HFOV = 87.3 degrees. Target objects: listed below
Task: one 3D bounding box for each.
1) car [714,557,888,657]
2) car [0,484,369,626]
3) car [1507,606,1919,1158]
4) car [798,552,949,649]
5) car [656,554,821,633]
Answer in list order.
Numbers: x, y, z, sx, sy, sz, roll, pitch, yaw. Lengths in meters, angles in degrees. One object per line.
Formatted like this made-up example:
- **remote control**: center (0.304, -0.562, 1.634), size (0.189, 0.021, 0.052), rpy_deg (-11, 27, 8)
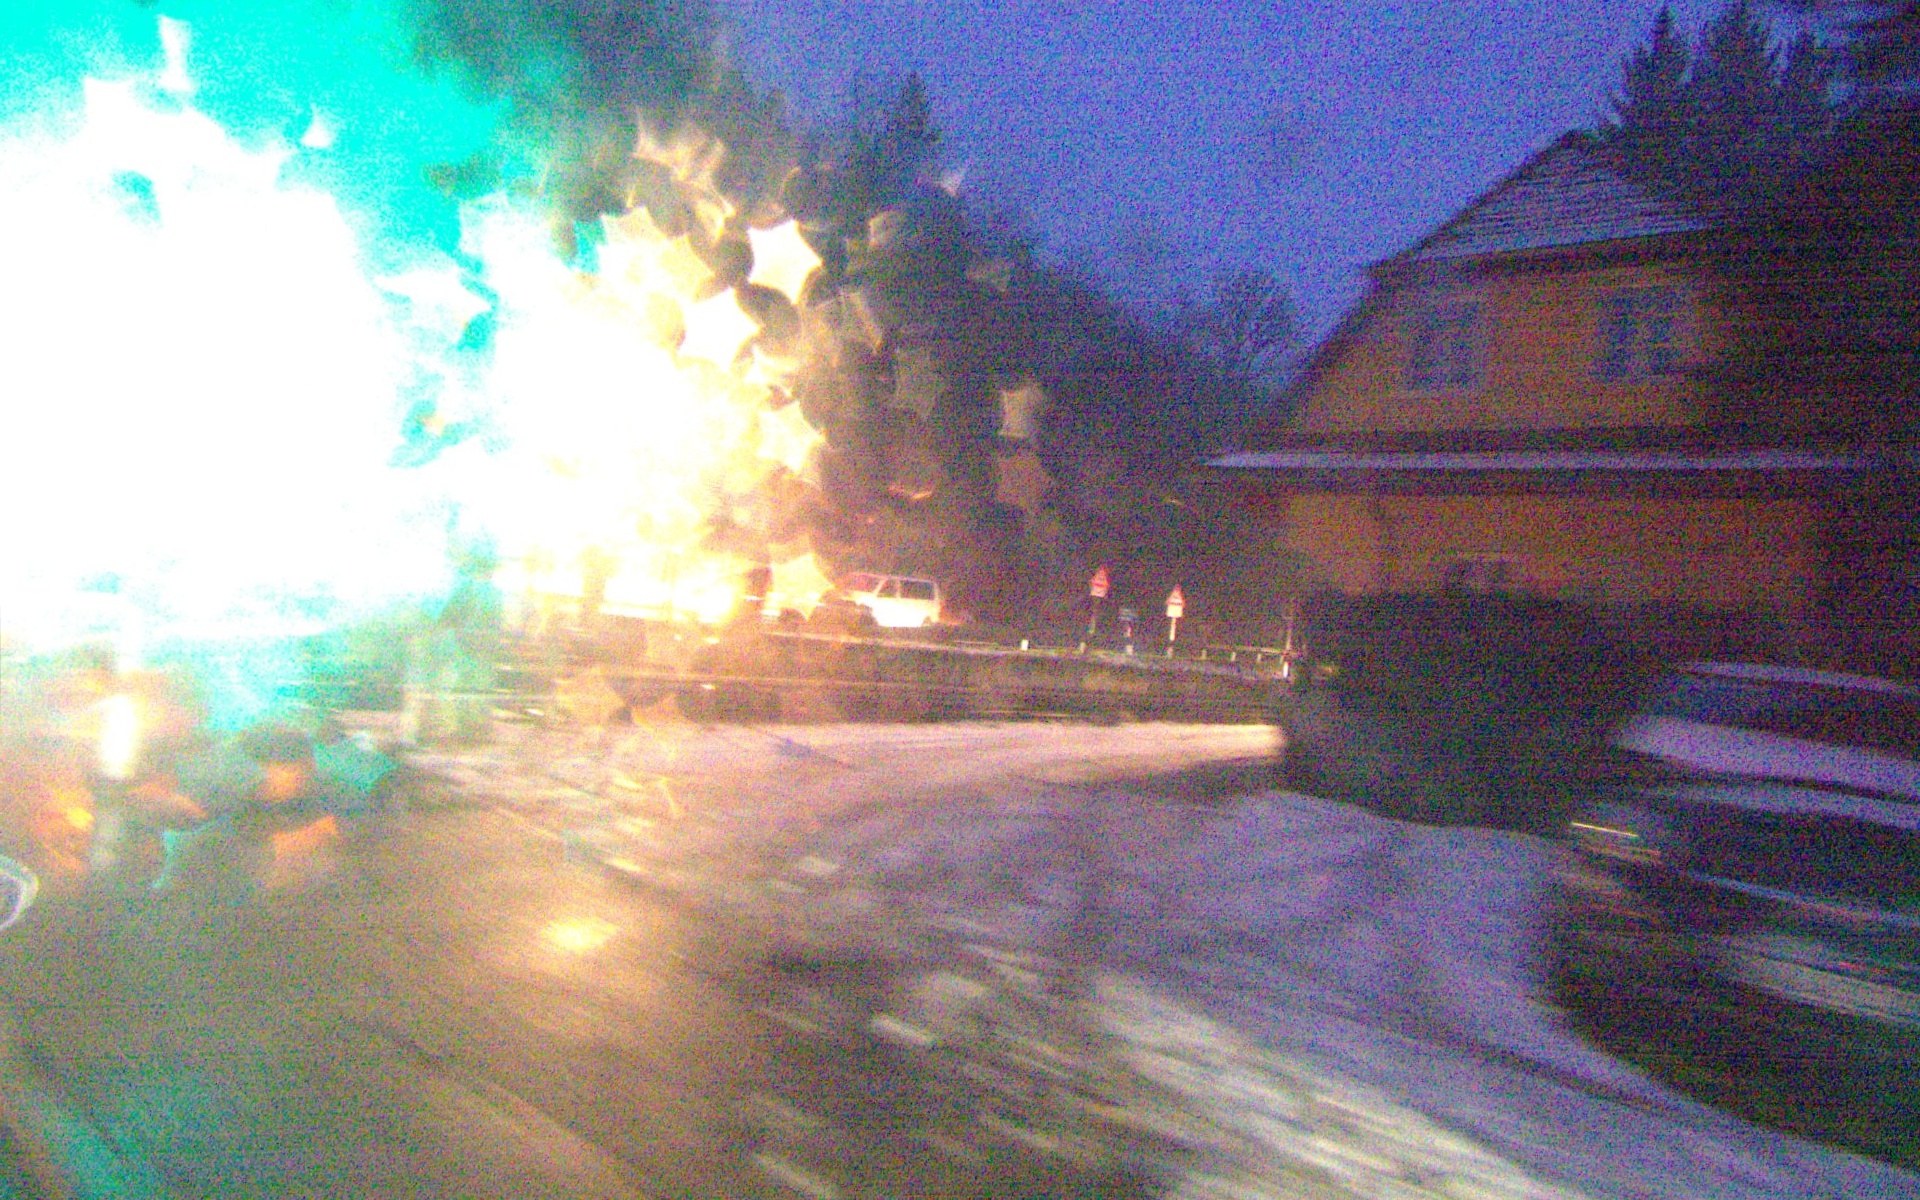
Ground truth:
- **car**: center (-4.001, 0.237, 25.999), size (1.750, 1.970, 4.243), rpy_deg (8, -1, 37)
- **car**: center (-10.855, -0.548, 14.378), size (1.879, 1.529, 4.241), rpy_deg (7, 1, 6)
- **car**: center (4.200, 1.052, 5.061), size (1.908, 1.606, 4.467), rpy_deg (8, 1, 35)
- **car**: center (-2.754, 0.082, 33.207), size (2.141, 2.468, 4.852), rpy_deg (6, -3, 35)
- **car**: center (-6.127, -0.144, 28.233), size (1.949, 1.533, 4.199), rpy_deg (6, -4, 34)
